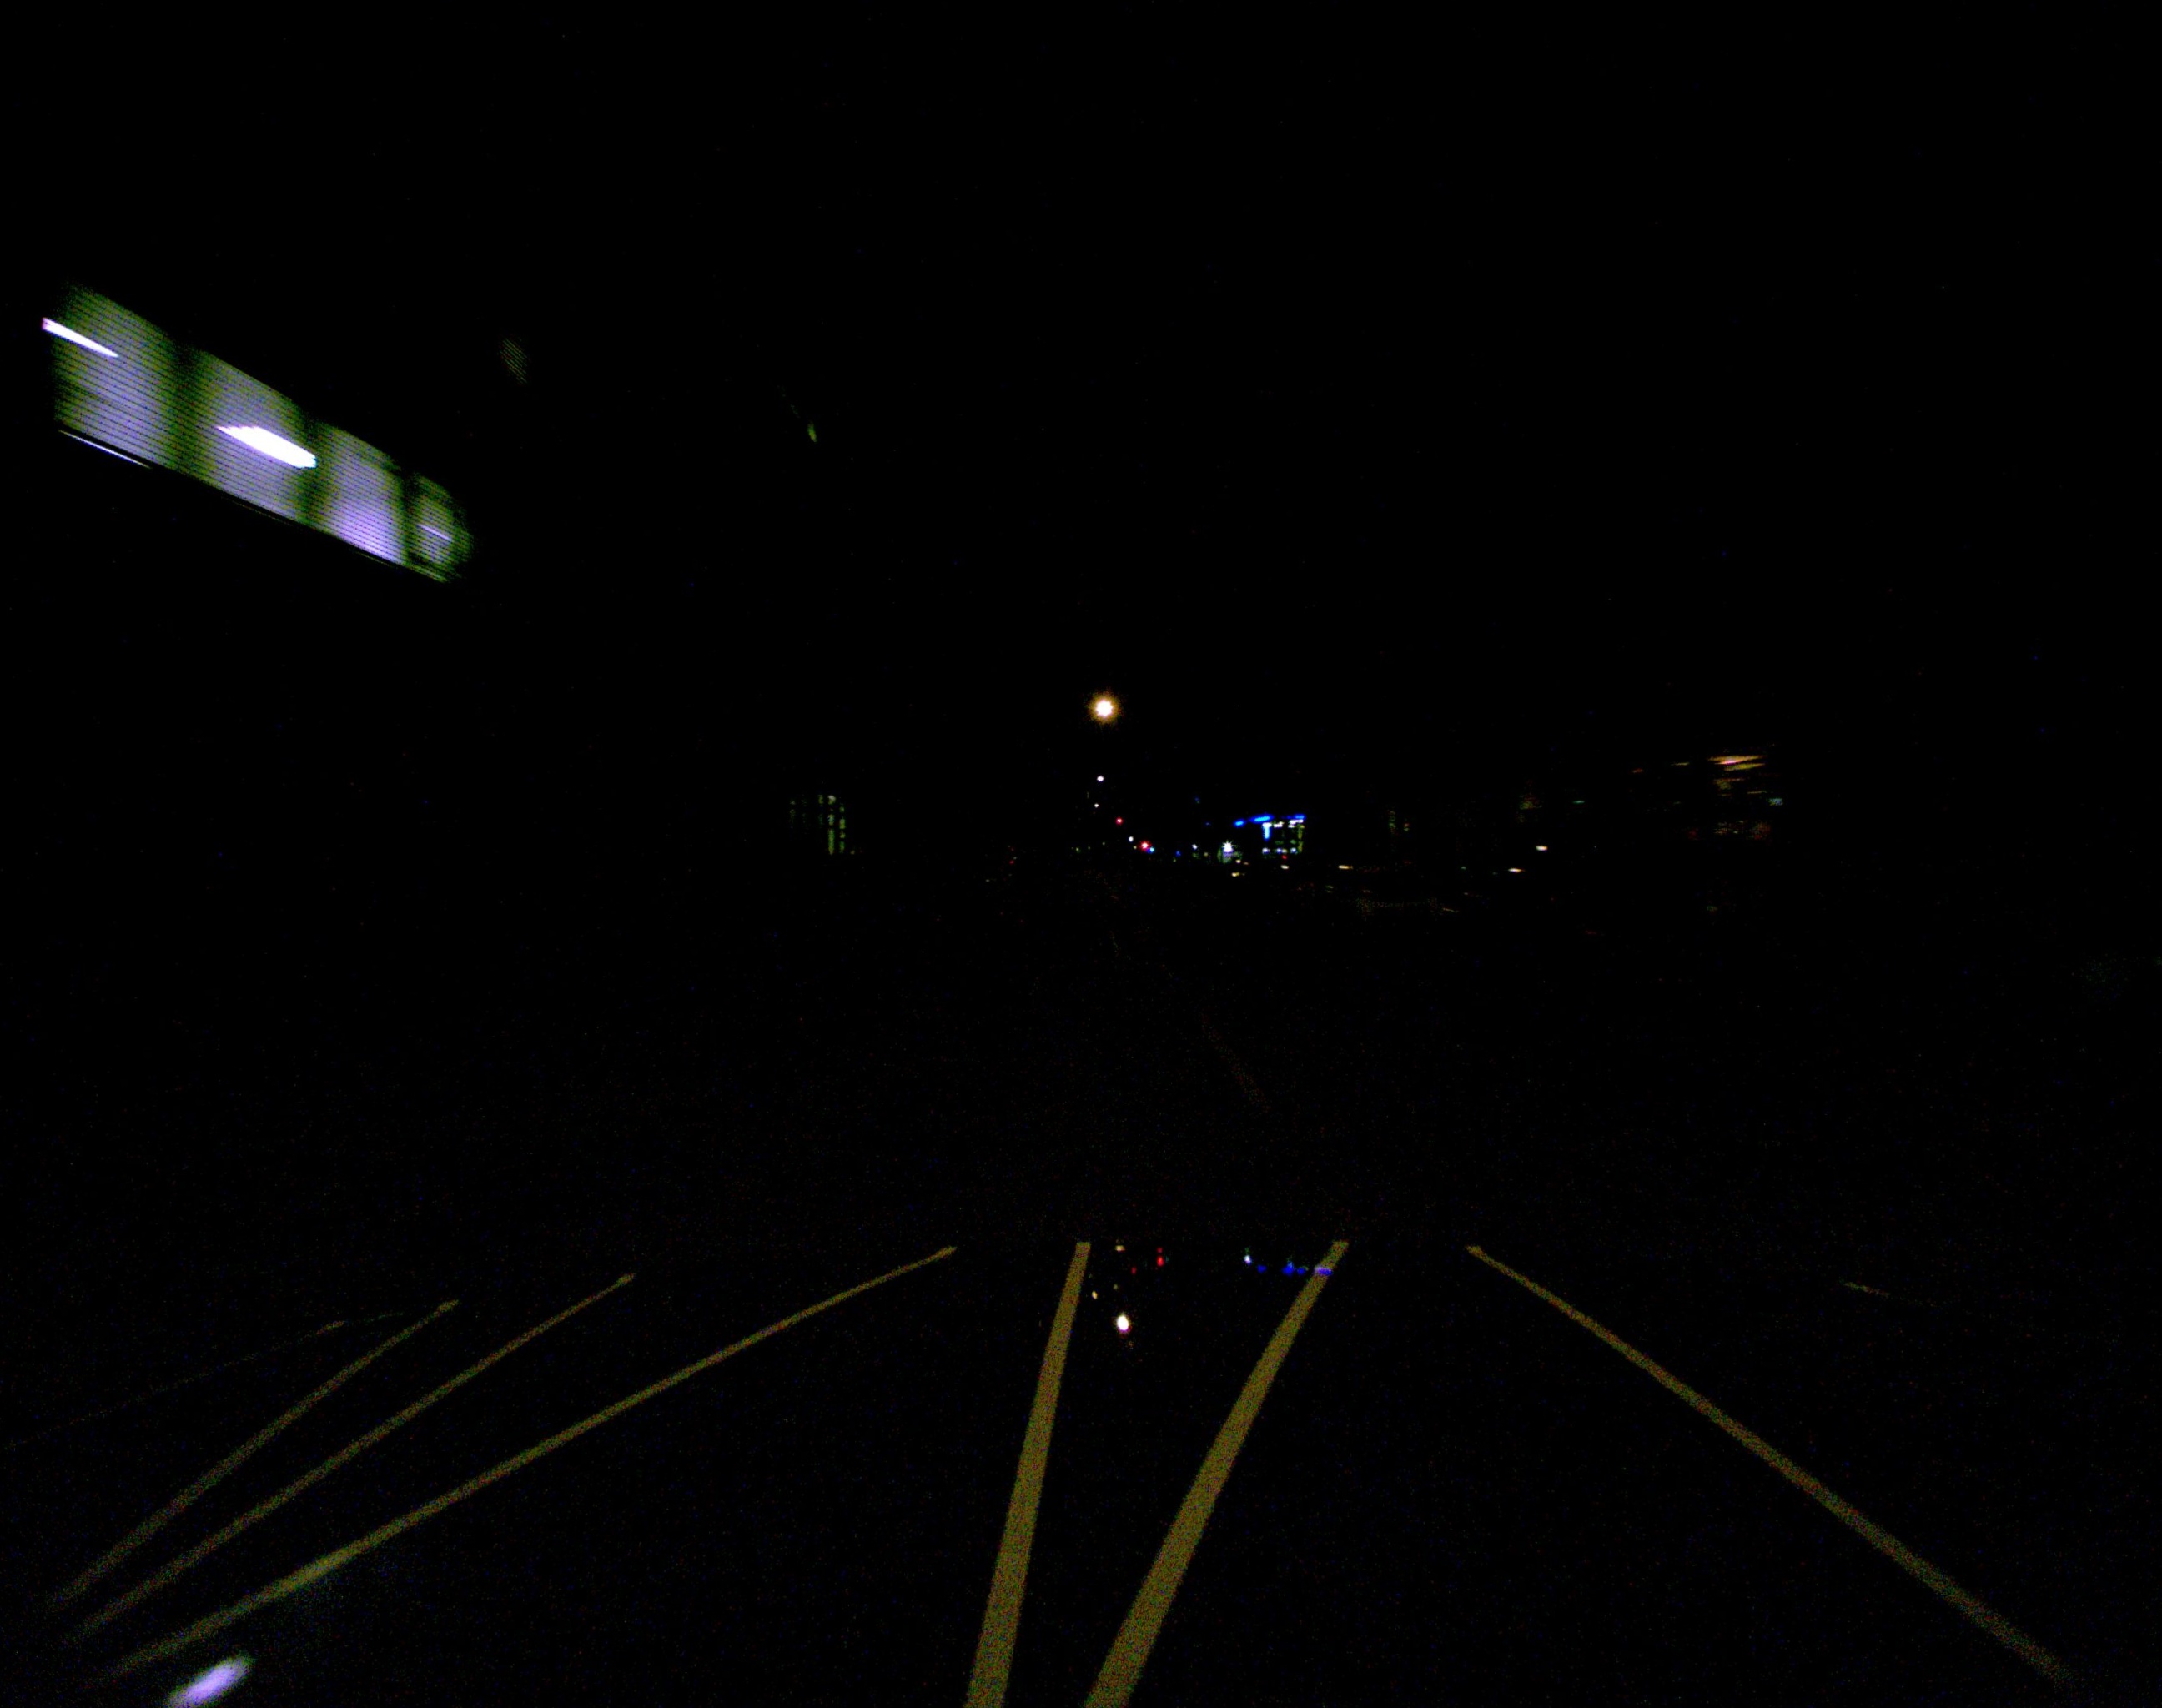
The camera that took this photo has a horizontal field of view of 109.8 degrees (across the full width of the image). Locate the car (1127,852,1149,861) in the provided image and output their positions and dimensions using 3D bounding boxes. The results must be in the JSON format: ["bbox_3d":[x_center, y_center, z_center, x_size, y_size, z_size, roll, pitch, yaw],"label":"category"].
[{"bbox_3d":[10.262,0.517,137.434,3.763,1.577,1.634,0,1,-3],"label":"car"}]

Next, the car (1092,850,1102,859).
[{"bbox_3d":[3.185,0.093,151.873,1.936,1.646,3.833,0,1,0],"label":"car"}]

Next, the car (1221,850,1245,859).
[{"bbox_3d":[28.537,0.069,142.447,4.280,1.469,1.730,-1,0,-27],"label":"car"}]

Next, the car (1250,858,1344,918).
[{"bbox_3d":[5.923,0.873,21.283,1.448,1.421,3.903,-3,0,0],"label":"car"}]

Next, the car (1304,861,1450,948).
[{"bbox_3d":[5.775,0.914,15.228,1.551,1.447,3.368,-3,0,0],"label":"car"}]

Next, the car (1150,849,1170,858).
[{"bbox_3d":[14.965,-0.021,143.295,3.575,1.689,1.634,0,1,0],"label":"car"}]

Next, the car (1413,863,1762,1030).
[{"bbox_3d":[5.738,0.914,9.267,1.649,1.496,3.860,-2,0,0],"label":"car"}]

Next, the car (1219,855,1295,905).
[{"bbox_3d":[5.924,0.814,25.982,1.646,1.496,3.903,-3,0,0],"label":"car"}]

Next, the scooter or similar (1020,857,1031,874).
[{"bbox_3d":[-4.181,0.851,57.519,0.548,1.196,1.910,6,2,1],"label":"scooter or similar"}]

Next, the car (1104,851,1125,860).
[{"bbox_3d":[6.449,0.343,147.395,3.848,1.781,1.634,0,1,-3],"label":"car"}]

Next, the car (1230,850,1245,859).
[{"bbox_3d":[27.387,0.064,132.771,1.732,1.469,4.086,-1,0,0],"label":"car"}]

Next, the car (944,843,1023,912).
[{"bbox_3d":[-2.970,0.665,24.064,1.956,1.952,4.603,0,0,-1],"label":"car"}]

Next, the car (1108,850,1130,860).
[{"bbox_3d":[7.260,0.247,143.911,4.055,1.879,1.634,0,1,-3],"label":"car"}]

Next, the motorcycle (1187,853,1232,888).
[{"bbox_3d":[6.044,0.754,35.733,1.909,1.541,0.638,-3,1,-19],"label":"motorcycle"}]
